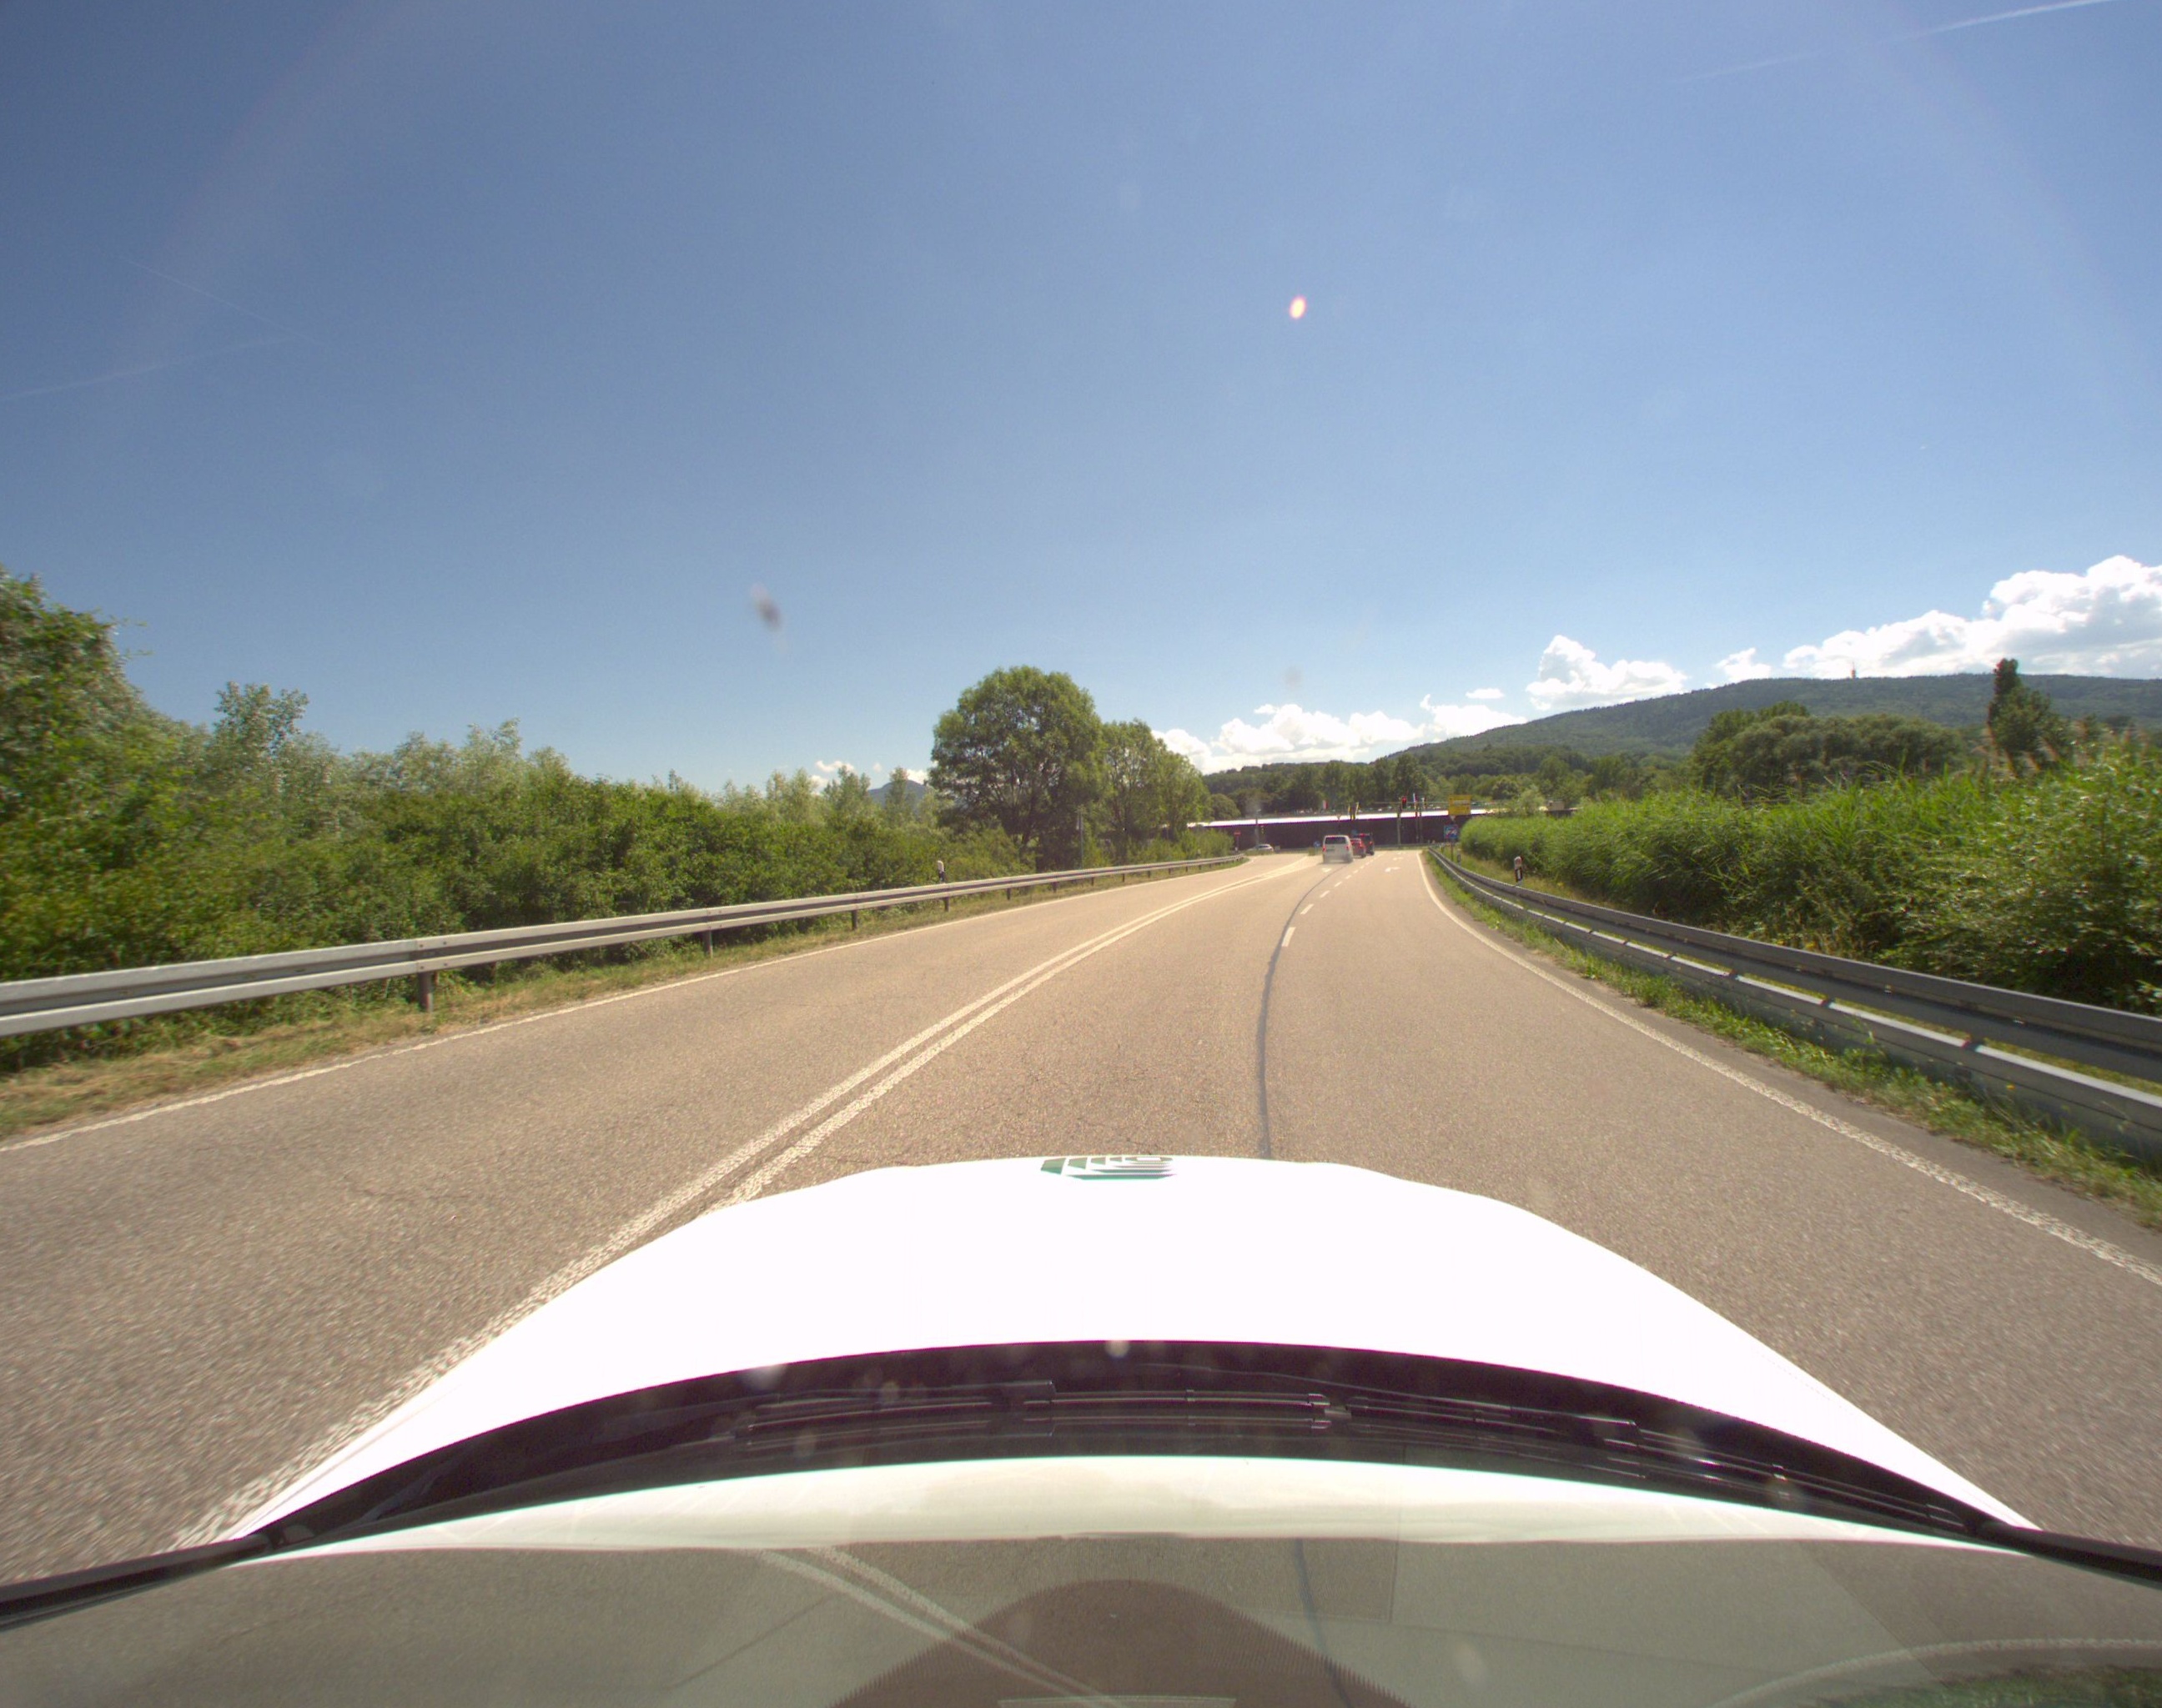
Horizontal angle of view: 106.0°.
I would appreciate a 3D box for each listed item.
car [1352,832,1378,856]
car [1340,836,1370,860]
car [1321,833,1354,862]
[{"bbox_3d":[26.380,-0.917,75.650,1.976,2.013,4.022,-4,0,22],"label":"car"},{"bbox_3d":[22.887,-0.512,67.970,1.976,1.812,4.022,-4,0,22],"label":"car"},{"bbox_3d":[18.004,-0.473,57.018,1.854,1.964,4.022,-1,0,22],"label":"car"}]
